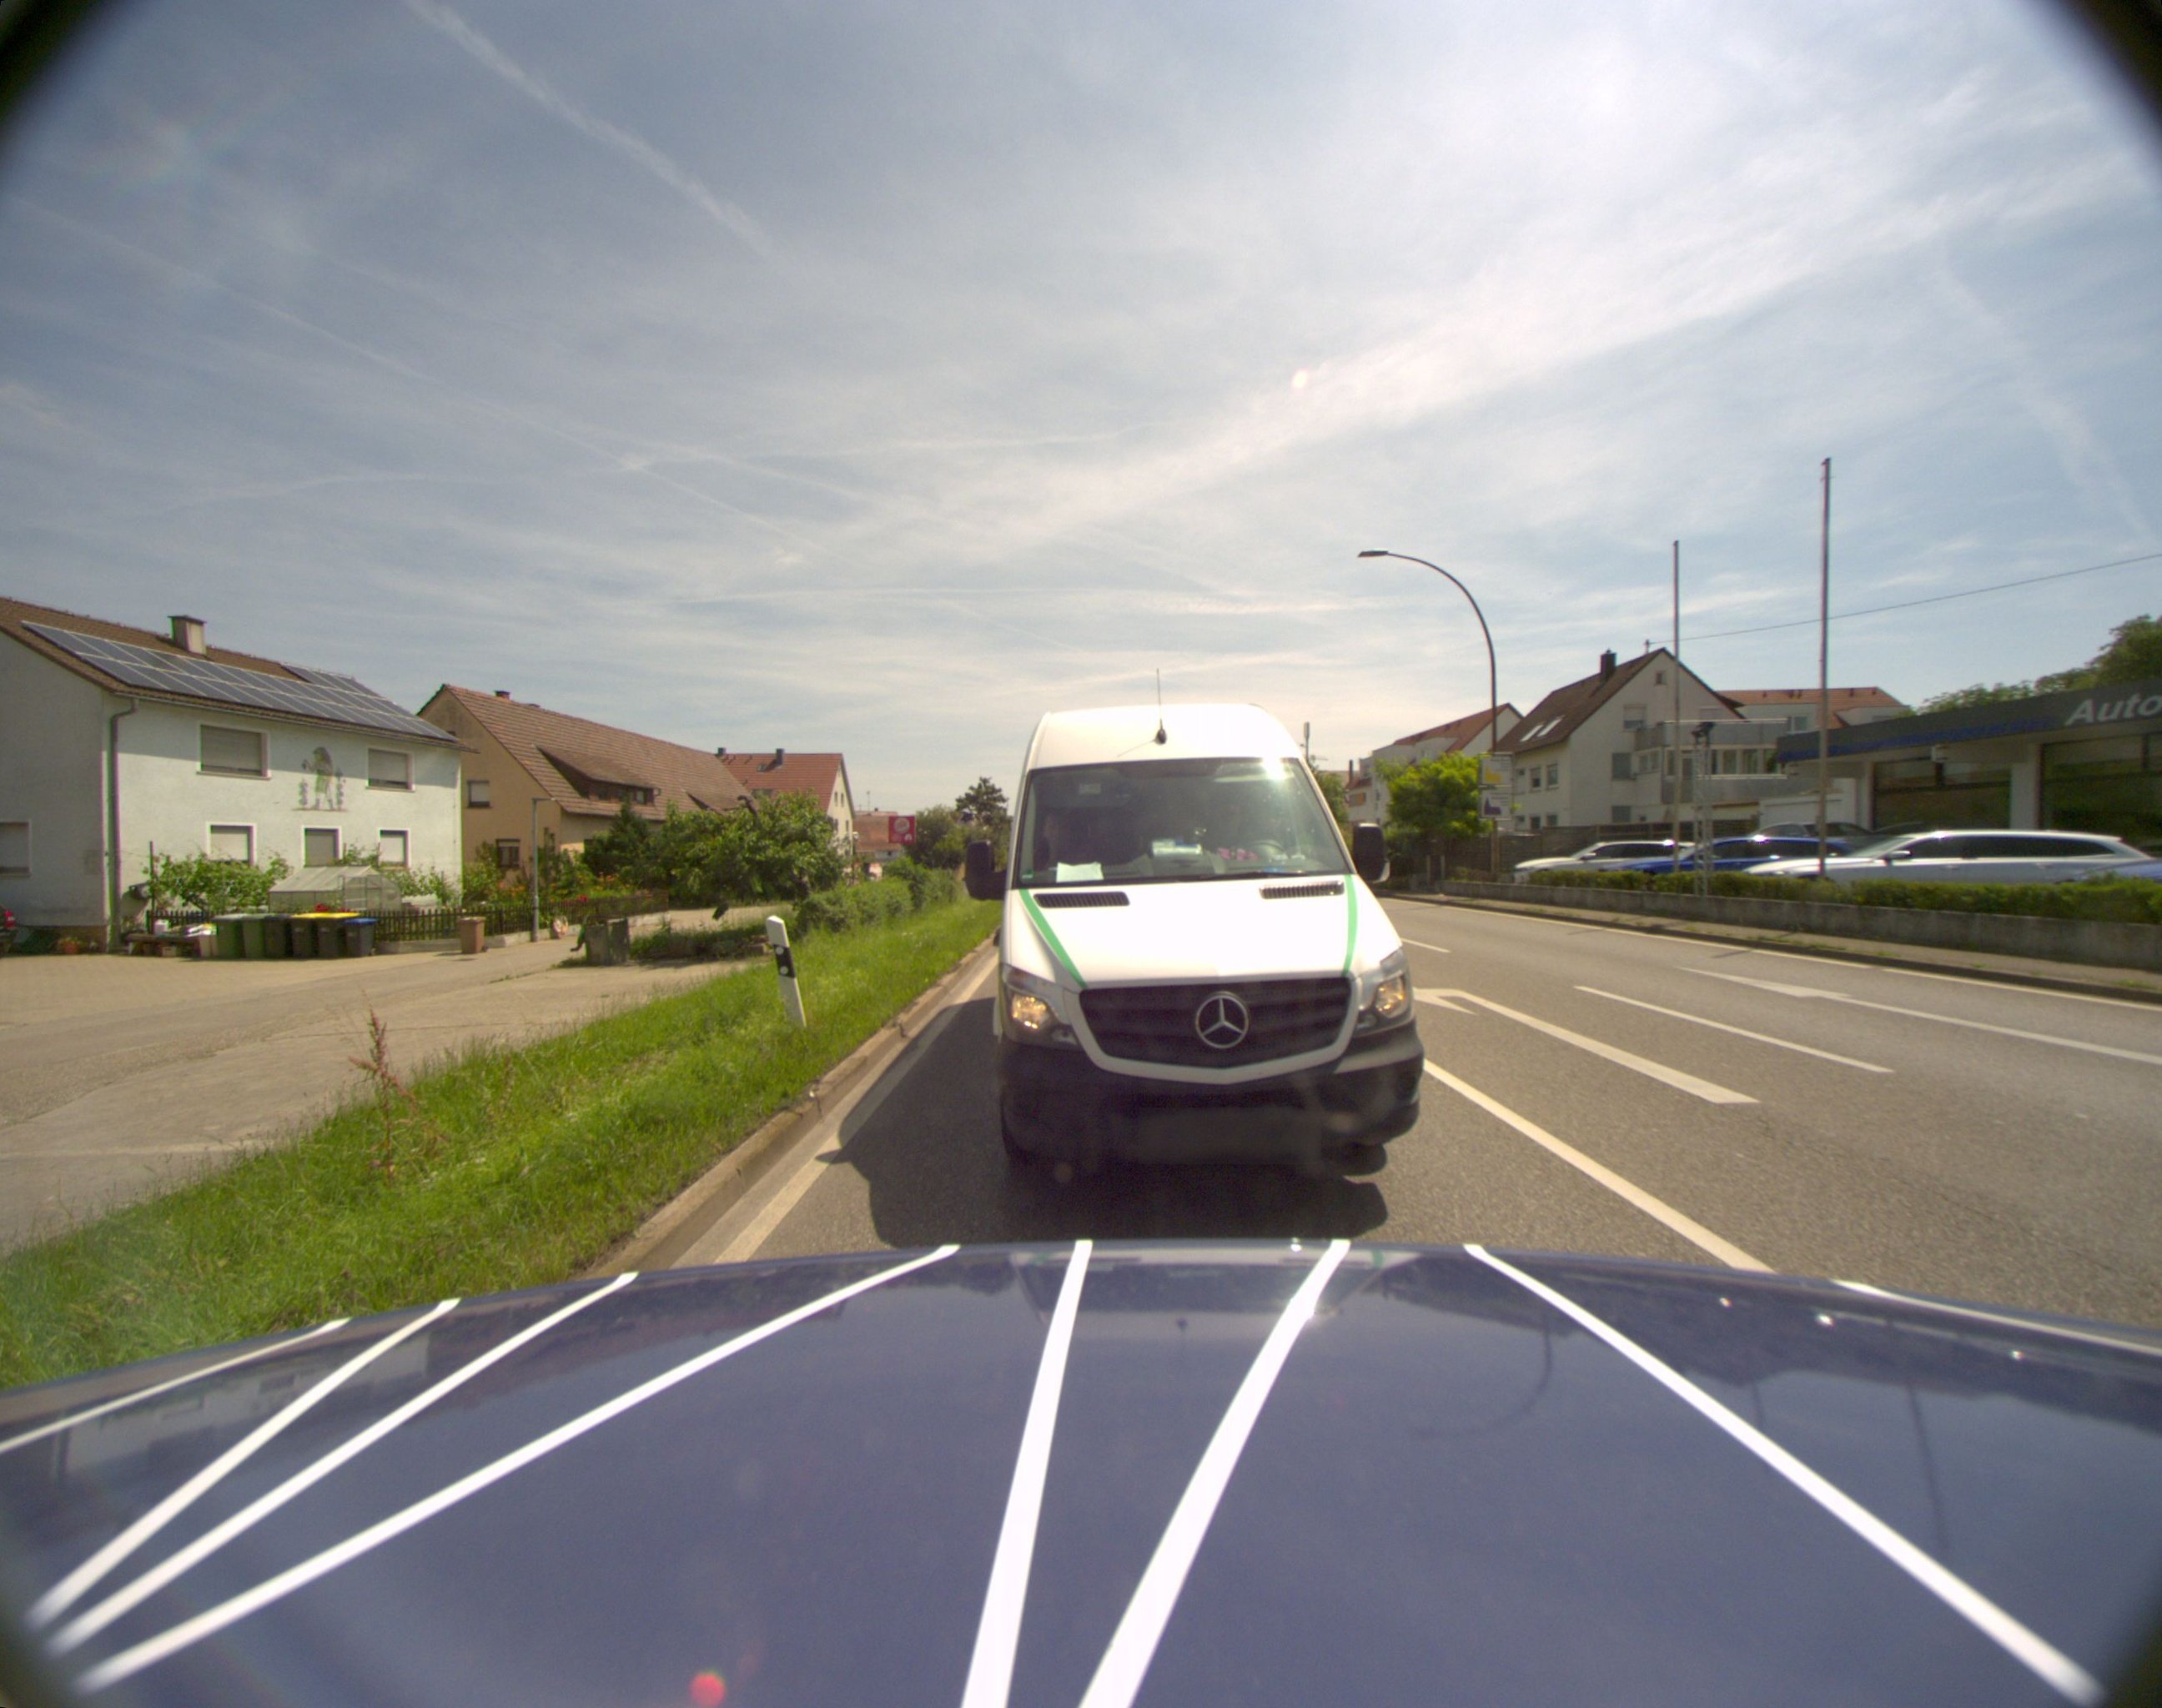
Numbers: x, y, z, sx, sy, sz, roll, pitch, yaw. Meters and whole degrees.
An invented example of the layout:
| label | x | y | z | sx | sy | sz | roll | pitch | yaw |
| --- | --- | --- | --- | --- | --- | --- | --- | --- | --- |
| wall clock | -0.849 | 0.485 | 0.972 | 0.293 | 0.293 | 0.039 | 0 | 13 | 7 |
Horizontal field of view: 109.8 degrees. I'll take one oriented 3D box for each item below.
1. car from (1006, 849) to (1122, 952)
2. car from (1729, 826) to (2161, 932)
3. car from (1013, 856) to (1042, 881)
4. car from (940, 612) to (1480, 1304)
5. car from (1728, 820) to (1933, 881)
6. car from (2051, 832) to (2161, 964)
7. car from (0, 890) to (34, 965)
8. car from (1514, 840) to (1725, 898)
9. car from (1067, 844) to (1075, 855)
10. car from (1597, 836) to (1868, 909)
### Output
| label | x | y | z | sx | sy | sz | roll | pitch | yaw |
| --- | --- | --- | --- | --- | --- | --- | --- | --- | --- |
| car | -0.298 | 0.783 | 15.225 | 1.884 | 1.652 | 4.625 | -3 | 0 | 0 |
| car | 14.120 | 0.448 | 12.836 | 4.505 | 1.439 | 1.860 | -4 | 0 | 30 |
| car | -3.495 | 0.932 | 50.035 | 1.636 | 1.476 | 3.551 | -4 | 1 | -1 |
| car | 0.481 | 0.382 | 5.689 | 1.939 | 2.514 | 5.748 | -2 | 0 | 0 |
| car | 20.818 | -0.096 | 21.434 | 1.807 | 1.456 | 4.585 | -2 | 0 | 10 |
| car | 14.509 | 0.430 | 8.376 | 4.331 | 1.439 | 1.860 | -2 | 1 | 28 |
| car | -26.860 | 1.730 | 17.172 | 3.957 | 1.683 | 1.844 | 0 | 1 | 3 |
| car | 14.616 | 0.428 | 20.999 | 4.568 | 1.439 | 1.860 | -2 | 1 | 29 |
| car | -2.521 | -1.098 | 192.873 | 1.998 | 2.573 | 3.999 | -2 | 1 | 0 |
| car | 14.349 | 0.414 | 17.118 | 4.331 | 1.439 | 1.860 | -2 | 1 | 29 |
